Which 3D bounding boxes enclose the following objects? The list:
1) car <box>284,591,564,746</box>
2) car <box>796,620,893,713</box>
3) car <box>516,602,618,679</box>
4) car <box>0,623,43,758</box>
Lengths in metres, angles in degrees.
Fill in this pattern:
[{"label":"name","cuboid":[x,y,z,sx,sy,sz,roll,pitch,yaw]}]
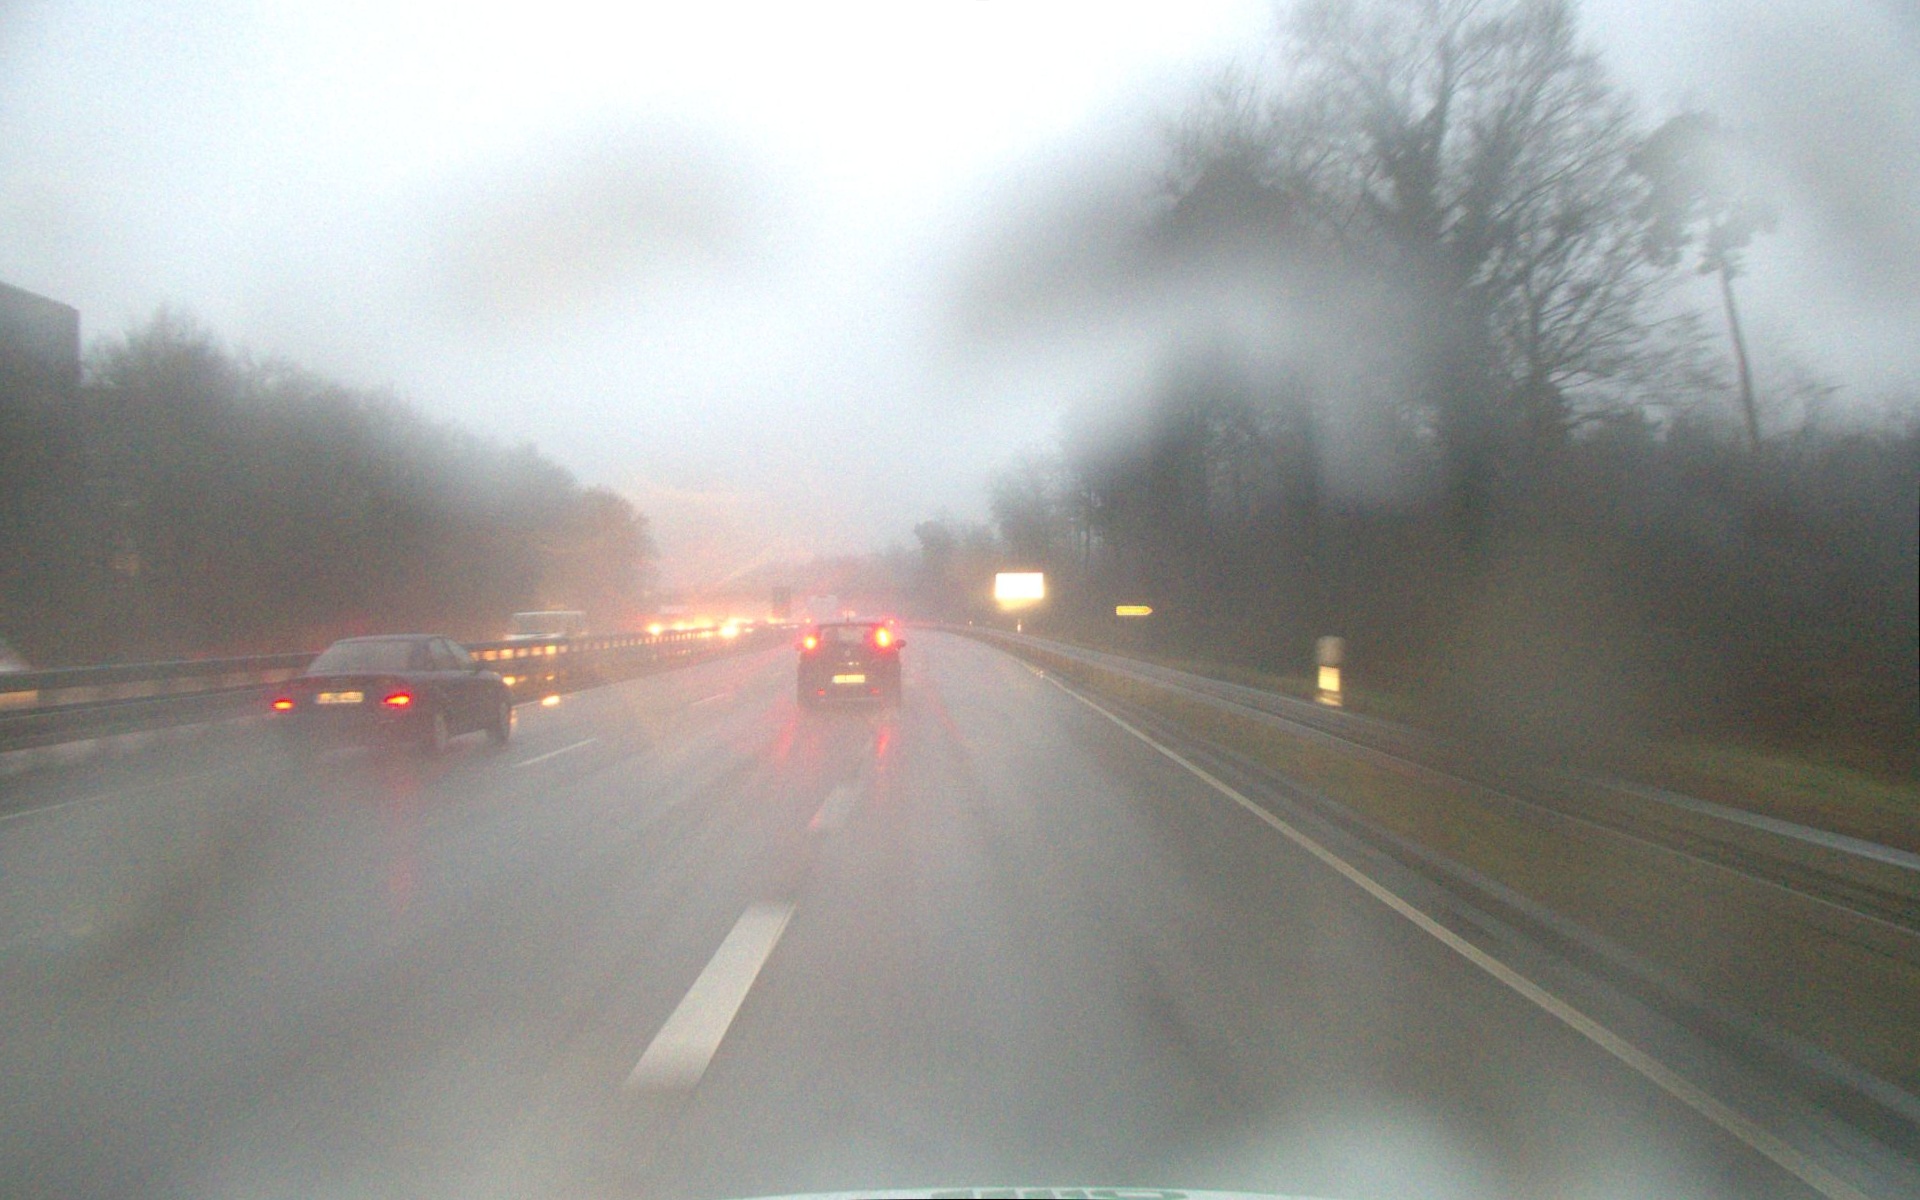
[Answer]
[{"label":"car","cuboid":[-6.399,0.735,20.362,1.739,1.561,4.704,-3,1,1]},{"label":"car","cuboid":[-1.913,1.076,27.929,1.497,1.440,3.477,1,0,-3]},{"label":"car","cuboid":[-12.526,1.258,53.046,1.934,2.321,5.049,-1,0,1]},{"label":"car","cuboid":[-12.932,1.151,19.461,1.805,1.686,4.667,-1,0,-2]}]
